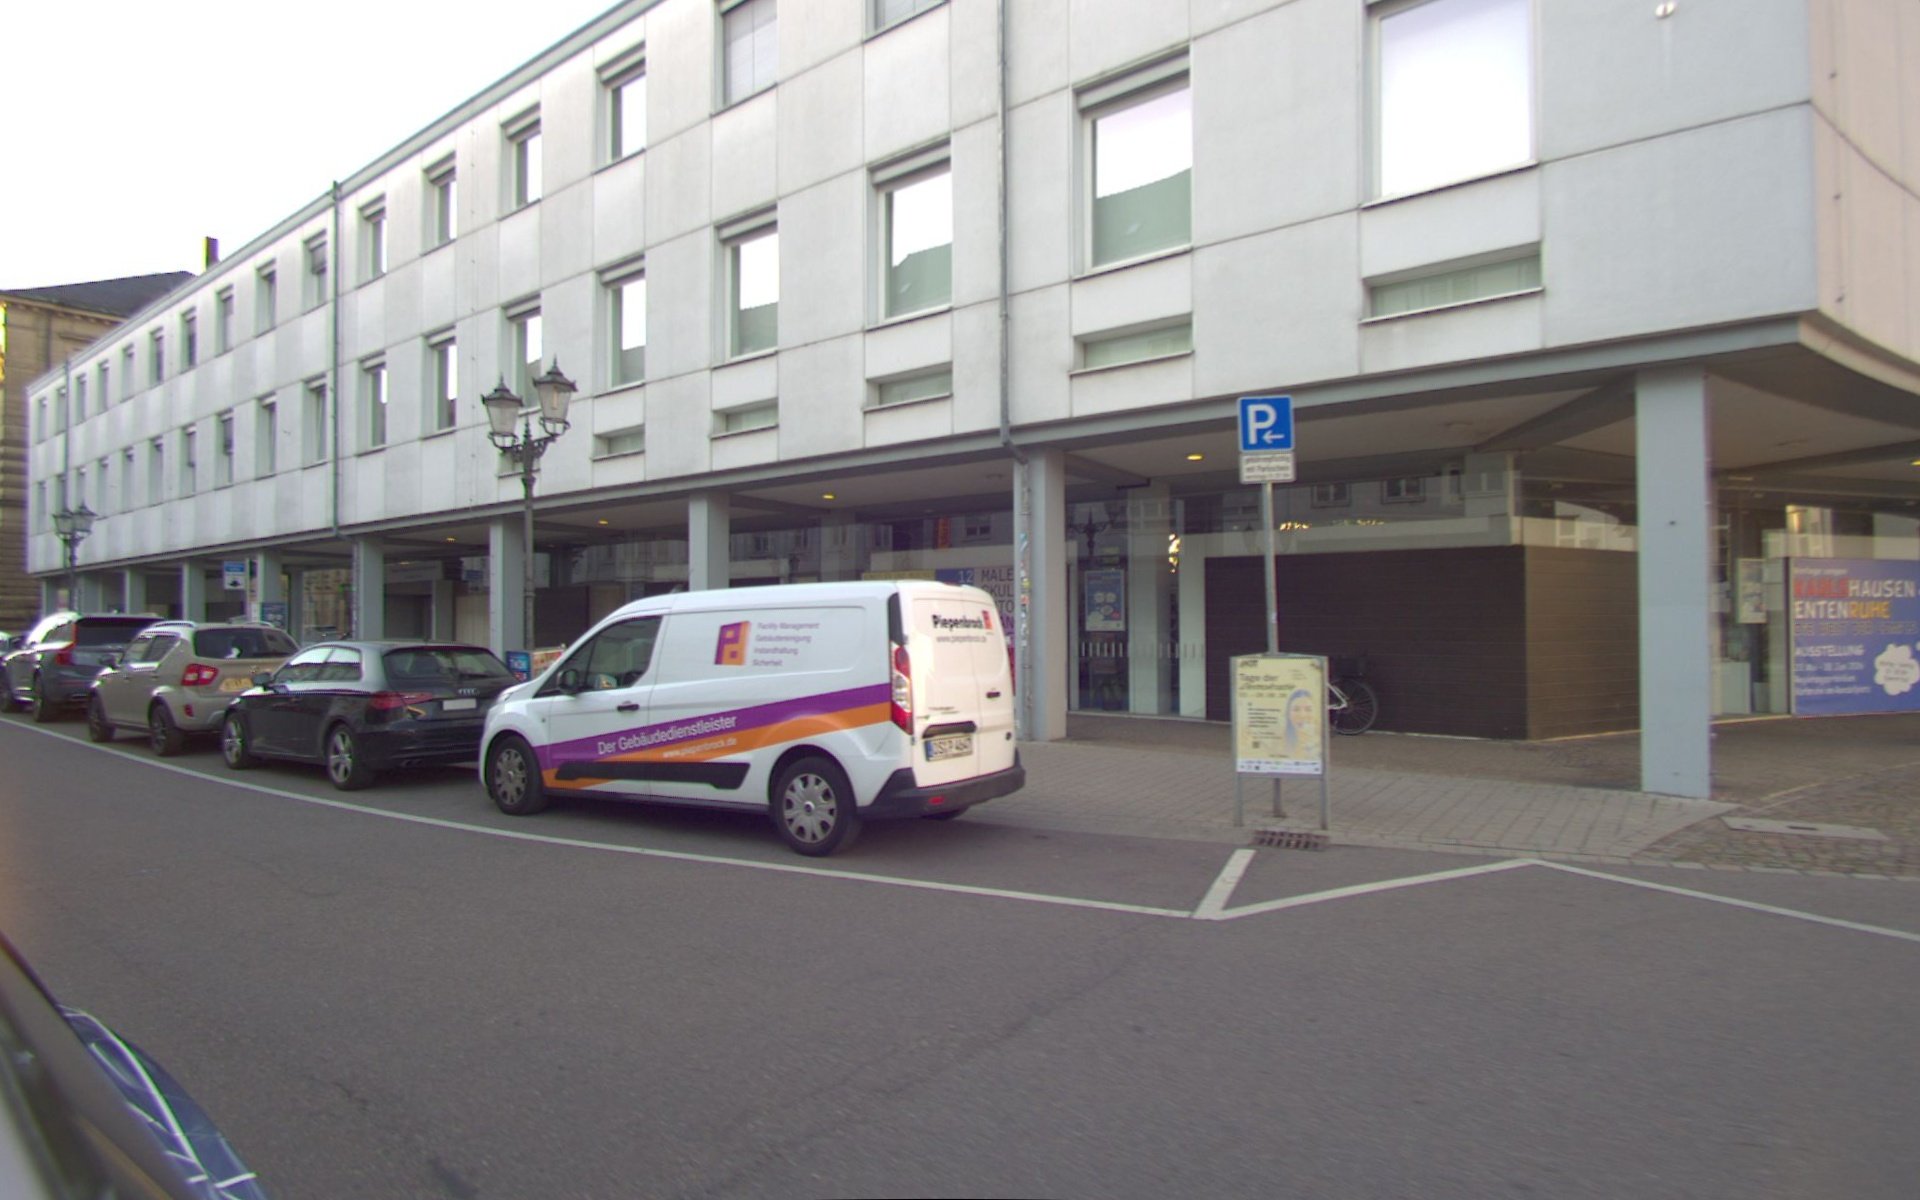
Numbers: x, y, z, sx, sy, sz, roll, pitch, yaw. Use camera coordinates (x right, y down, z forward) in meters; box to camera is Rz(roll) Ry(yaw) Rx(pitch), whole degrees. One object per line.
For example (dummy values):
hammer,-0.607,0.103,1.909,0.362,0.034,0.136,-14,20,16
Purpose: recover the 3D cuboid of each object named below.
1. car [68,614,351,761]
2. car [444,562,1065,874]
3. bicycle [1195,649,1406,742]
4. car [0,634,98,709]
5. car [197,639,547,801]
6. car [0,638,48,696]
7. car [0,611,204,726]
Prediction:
car,-10.095,1.060,13.545,3.992,1.674,1.975,-2,-2,37
car,-1.753,0.749,8.046,4.766,1.829,1.979,-1,-1,31
bicycle,4.115,1.120,12.363,2.331,0.991,0.726,-1,-1,37
car,-19.447,1.422,20.903,3.993,1.411,1.657,-2,-2,37
car,-6.297,1.113,10.678,4.096,1.364,1.663,-2,-1,35
car,-23.911,1.592,24.567,3.995,1.364,1.974,-2,-3,38
car,-15.015,1.114,17.517,4.510,1.741,1.974,-2,-3,38
